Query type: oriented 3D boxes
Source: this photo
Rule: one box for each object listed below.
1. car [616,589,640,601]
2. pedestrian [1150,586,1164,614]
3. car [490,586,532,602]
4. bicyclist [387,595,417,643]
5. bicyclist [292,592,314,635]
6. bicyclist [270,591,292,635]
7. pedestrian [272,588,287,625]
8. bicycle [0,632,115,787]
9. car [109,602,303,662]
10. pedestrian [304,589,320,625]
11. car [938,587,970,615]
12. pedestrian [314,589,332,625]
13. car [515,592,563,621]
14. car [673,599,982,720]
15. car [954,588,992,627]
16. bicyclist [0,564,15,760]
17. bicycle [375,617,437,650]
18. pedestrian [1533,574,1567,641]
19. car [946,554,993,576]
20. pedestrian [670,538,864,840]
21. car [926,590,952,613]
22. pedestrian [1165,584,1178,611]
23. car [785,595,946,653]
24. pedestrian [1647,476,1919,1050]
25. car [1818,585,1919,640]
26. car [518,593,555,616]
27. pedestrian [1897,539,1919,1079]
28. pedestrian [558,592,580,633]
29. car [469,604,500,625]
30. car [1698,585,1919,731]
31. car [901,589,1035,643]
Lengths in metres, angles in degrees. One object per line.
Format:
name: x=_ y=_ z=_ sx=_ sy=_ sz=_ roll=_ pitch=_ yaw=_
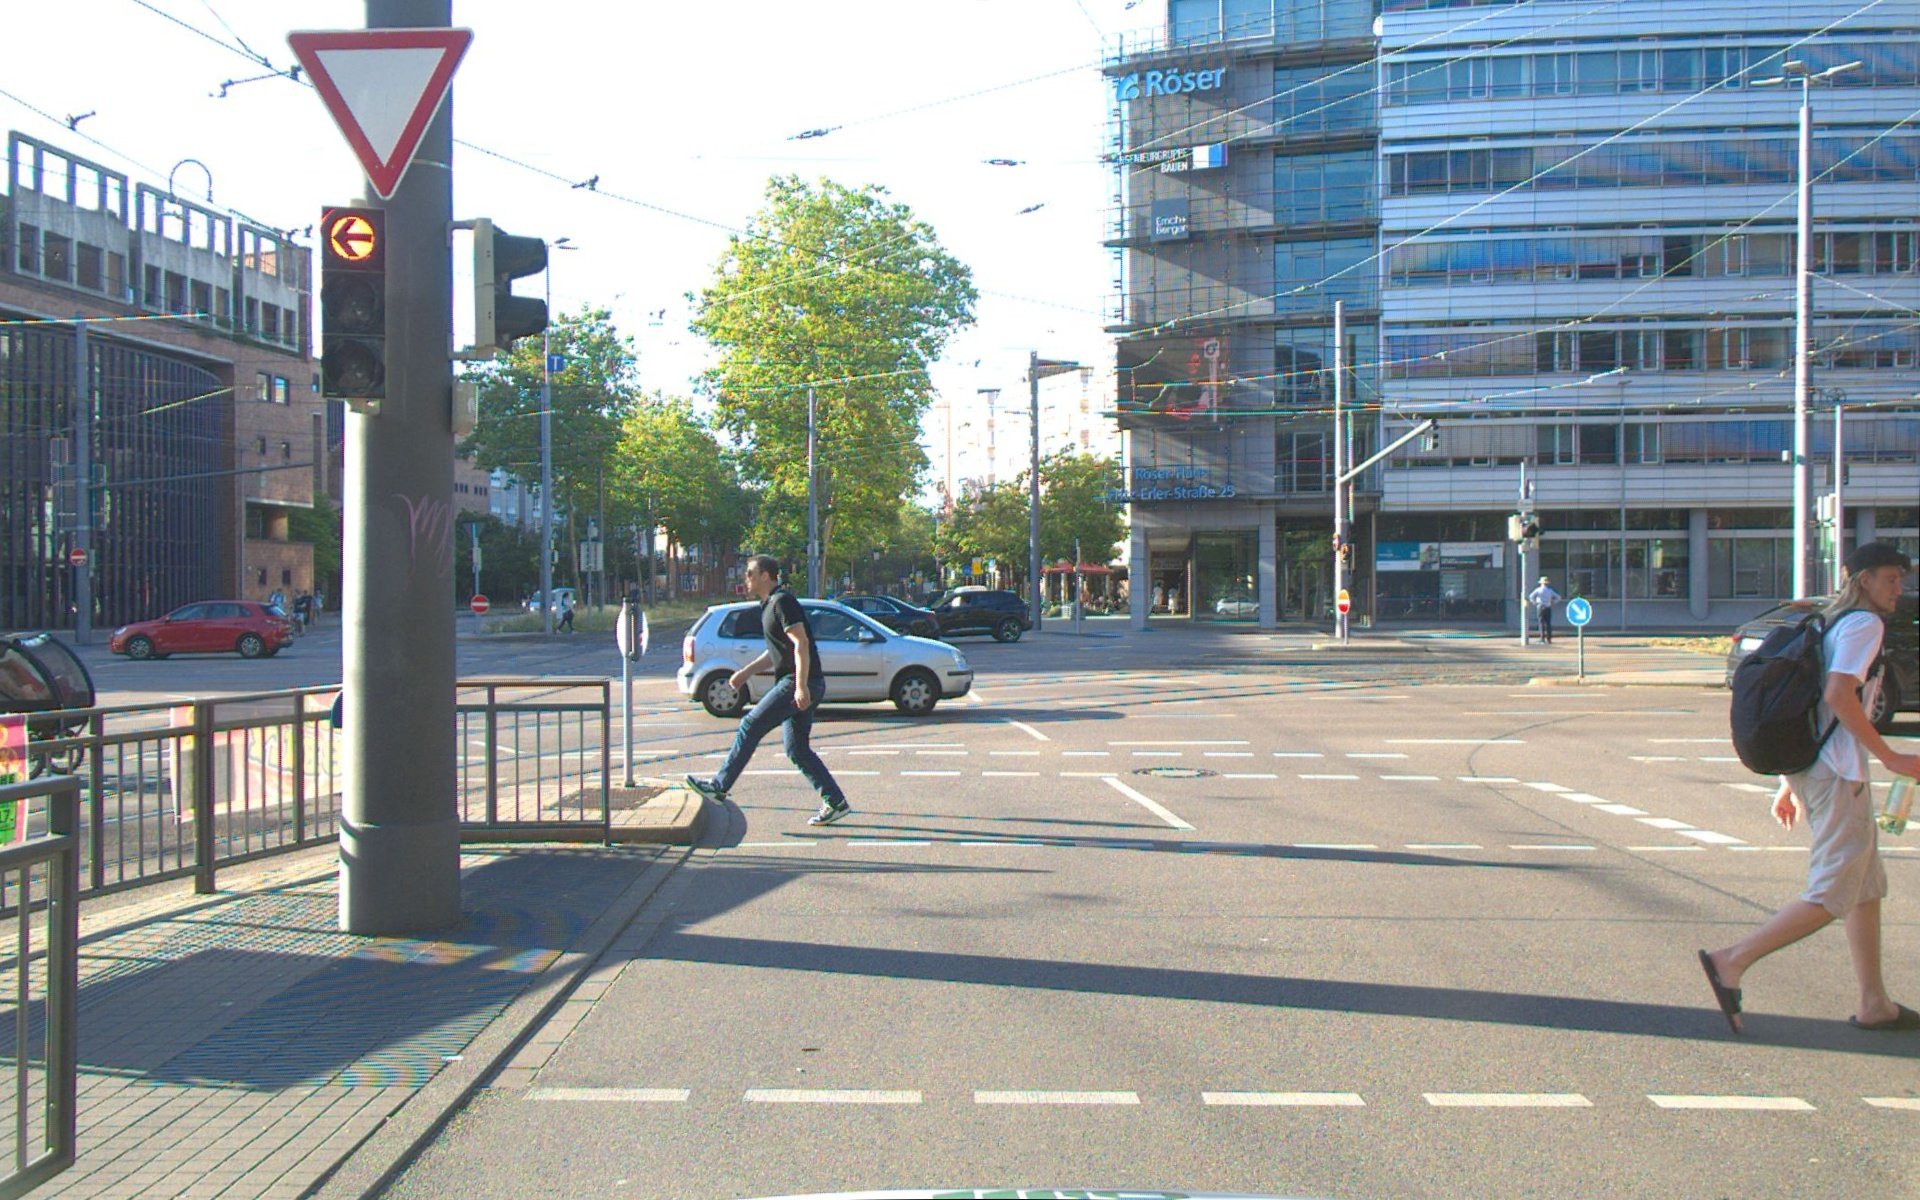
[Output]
car: x=-43.547 y=-0.691 z=216.777 sx=1.951 sy=1.534 sz=4.003 roll=-1 pitch=0 yaw=7
pedestrian: x=10.760 y=0.006 z=90.394 sx=0.723 sy=1.491 sz=0.537 roll=-1 pitch=0 yaw=8
car: x=-46.476 y=-0.638 z=171.247 sx=3.948 sy=1.579 sz=1.589 roll=1 pitch=-1 yaw=-32
bicyclist: x=-16.516 y=0.564 z=48.936 sx=0.807 sy=1.390 sz=0.398 roll=-1 pitch=0 yaw=-20
bicyclist: x=-26.011 y=0.522 z=65.479 sx=0.582 sy=1.705 sz=0.788 roll=-1 pitch=0 yaw=-7
bicyclist: x=-26.754 y=0.506 z=65.212 sx=0.582 sy=1.705 sz=0.788 roll=-1 pitch=0 yaw=-7
pedestrian: x=-34.545 y=0.332 z=84.014 sx=0.479 sy=1.842 sz=0.546 roll=-1 pitch=0 yaw=6
bicycle: x=-8.647 y=0.922 z=14.302 sx=2.112 sy=1.248 sz=1.073 roll=0 pitch=1 yaw=3
car: x=-19.175 y=0.784 z=42.221 sx=4.164 sy=1.417 sz=1.791 roll=-1 pitch=0 yaw=-11
pedestrian: x=-32.892 y=0.358 z=83.937 sx=0.511 sy=1.810 sz=0.546 roll=-1 pitch=0 yaw=6
car: x=-0.379 y=0.056 z=105.000 sx=1.953 sy=1.691 sz=3.999 roll=-1 pitch=0 yaw=-1
pedestrian: x=-32.730 y=0.355 z=84.968 sx=0.627 sy=1.842 sz=0.546 roll=-1 pitch=0 yaw=6
car: x=-22.770 y=0.326 z=89.509 sx=1.955 sy=1.534 sz=3.994 roll=-1 pitch=0 yaw=-6
car: x=-1.707 y=0.736 z=21.557 sx=3.832 sy=1.459 sz=1.823 roll=0 pitch=0 yaw=-5
car: x=0.675 y=0.371 z=89.700 sx=1.953 sy=2.026 sz=3.999 roll=-1 pitch=0 yaw=-1
bicyclist: x=-8.824 y=0.547 z=14.307 sx=0.885 sy=1.710 sz=0.691 roll=-1 pitch=0 yaw=2
bicycle: x=-16.393 y=0.989 z=48.969 sx=1.716 sy=0.915 sz=0.406 roll=-1 pitch=0 yaw=-21
pedestrian: x=15.265 y=0.193 z=42.821 sx=0.704 sy=1.711 sz=0.557 roll=1 pitch=0 yaw=6
car: x=0.788 y=-2.949 z=141.270 sx=3.681 sy=1.780 sz=1.783 roll=1 pitch=0 yaw=14
pedestrian: x=-1.247 y=0.547 z=10.780 sx=1.185 sy=1.854 sz=1.040 roll=0 pitch=0 yaw=-6
car: x=-1.636 y=0.100 z=126.697 sx=1.953 sy=1.691 sz=3.999 roll=-1 pitch=0 yaw=-1
pedestrian: x=11.537 y=-0.129 z=90.113 sx=0.691 sy=1.491 sz=0.384 roll=-1 pitch=0 yaw=8
car: x=-2.578 y=0.631 z=44.713 sx=4.164 sy=1.459 sz=1.791 roll=-1 pitch=0 yaw=-11
pedestrian: x=3.166 y=0.552 z=5.935 sx=1.053 sy=1.904 sz=0.737 roll=1 pitch=-1 yaw=-8
car: x=25.599 y=0.324 z=44.402 sx=4.151 sy=1.417 sz=1.796 roll=-1 pitch=0 yaw=4
car: x=-29.481 y=0.325 z=115.176 sx=1.955 sy=1.534 sz=3.994 roll=-1 pitch=0 yaw=-6
pedestrian: x=3.609 y=0.669 z=5.051 sx=1.052 sy=1.711 sz=0.756 roll=1 pitch=-1 yaw=-8
pedestrian: x=-14.820 y=0.469 z=62.652 sx=0.740 sy=1.557 sz=0.507 roll=1 pitch=0 yaw=-8
car: x=-35.238 y=1.077 z=122.750 sx=1.873 sy=1.536 sz=3.988 roll=1 pitch=0 yaw=-12
car: x=11.214 y=0.626 z=19.336 sx=4.393 sy=1.611 sz=1.824 roll=0 pitch=0 yaw=-4
car: x=0.217 y=0.476 z=49.723 sx=3.791 sy=1.533 sz=1.791 roll=-1 pitch=0 yaw=-11
